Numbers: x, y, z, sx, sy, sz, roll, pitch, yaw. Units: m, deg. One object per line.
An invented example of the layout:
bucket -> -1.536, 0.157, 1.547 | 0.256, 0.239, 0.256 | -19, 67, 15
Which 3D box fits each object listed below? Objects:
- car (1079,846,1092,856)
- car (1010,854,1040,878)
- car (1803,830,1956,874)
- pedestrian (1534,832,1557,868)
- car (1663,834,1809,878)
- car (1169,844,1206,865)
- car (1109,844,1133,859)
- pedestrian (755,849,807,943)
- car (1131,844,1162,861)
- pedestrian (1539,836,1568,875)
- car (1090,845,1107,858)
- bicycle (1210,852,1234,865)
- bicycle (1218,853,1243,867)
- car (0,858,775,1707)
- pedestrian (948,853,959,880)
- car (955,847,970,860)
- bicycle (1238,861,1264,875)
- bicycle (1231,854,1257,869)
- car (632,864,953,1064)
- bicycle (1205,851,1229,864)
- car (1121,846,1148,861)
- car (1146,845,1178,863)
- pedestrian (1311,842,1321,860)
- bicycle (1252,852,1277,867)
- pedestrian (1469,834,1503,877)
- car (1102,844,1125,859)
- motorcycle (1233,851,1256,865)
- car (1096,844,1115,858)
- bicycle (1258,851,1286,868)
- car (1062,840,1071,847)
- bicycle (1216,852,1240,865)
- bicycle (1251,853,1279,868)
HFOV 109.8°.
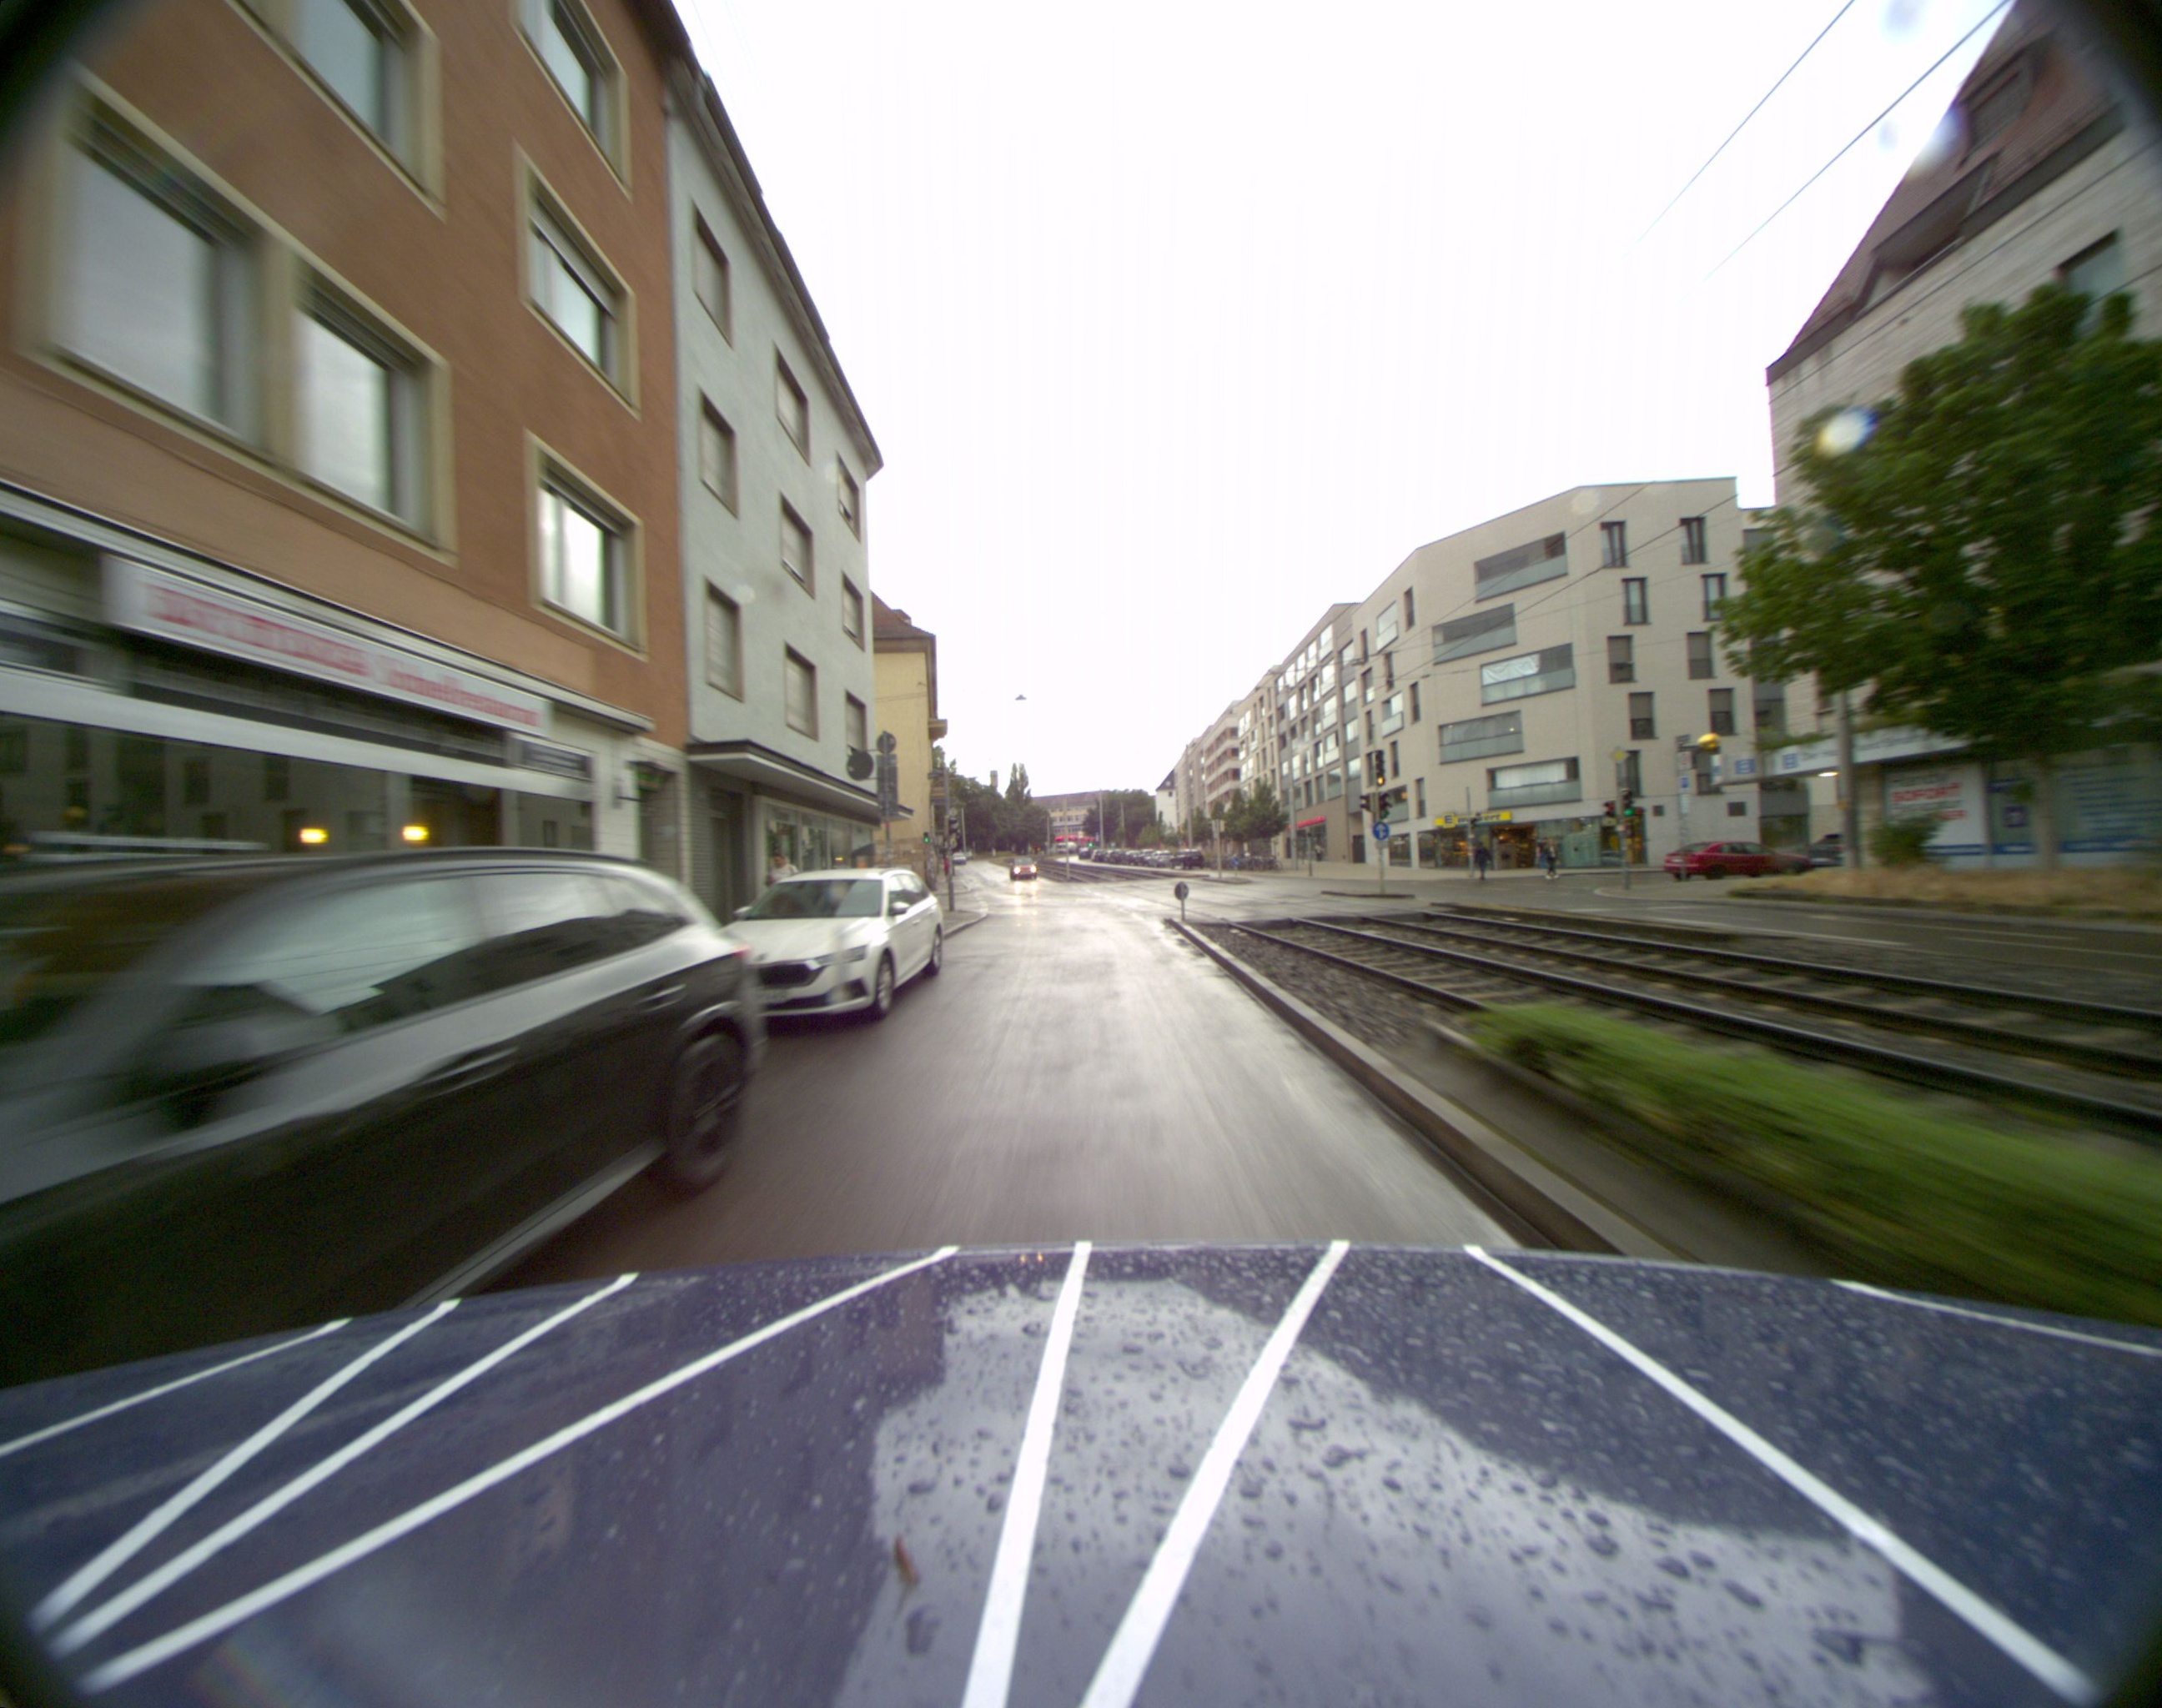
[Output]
car -> 0.674, -0.481, 117.776 | 1.655, 1.456, 3.668 | -5, 2, -1
car -> -3.952, 0.799, 53.124 | 1.595, 1.456, 3.666 | -5, 2, -11
car -> 27.822, -0.104, 26.562 | 3.703, 1.310, 1.593 | -3, 2, -1
pedestrian -> 22.633, -0.200, 37.022 | 0.706, 1.701, 0.584 | -4, 2, -24
car -> 22.879, 0.063, 26.632 | 3.702, 1.310, 1.593 | -3, 2, 1
car -> 8.764, 0.020, 62.800 | 1.685, 1.595, 4.324 | -4, 2, -11
car -> 4.414, -0.288, 83.849 | 1.685, 1.555, 3.924 | -4, 2, -11
pedestrian -> -5.185, 0.709, 13.162 | 0.690, 1.562, 0.762 | -1, -1, -11
car -> 6.423, -0.141, 74.537 | 1.686, 1.521, 4.044 | -4, 2, -15
pedestrian -> 19.820, 0.068, 31.862 | 0.649, 1.560, 0.775 | -7, 3, -37
car -> 2.244, -0.328, 98.260 | 1.651, 1.496, 3.778 | -4, 2, -5
bicycle -> 10.783, 0.360, 58.152 | 1.790, 0.912, 0.387 | -3, 2, -14
bicycle -> 11.068, 0.436, 56.248 | 1.790, 0.912, 0.387 | -3, 2, -14
car -> -2.736, 0.937, 2.030 | 1.850, 1.623, 4.585 | -3, 2, 1
pedestrian -> -8.703, 0.849, 51.834 | 0.749, 1.754, 0.817 | 1, 2, -11
car -> -16.669, -0.071, 106.758 | 1.727, 1.676, 3.862 | -5, 2, -11
bicycle -> 12.066, 1.002, 53.939 | 1.790, 0.912, 0.387 | -3, 2, -18
bicycle -> 11.790, 0.527, 54.898 | 1.790, 0.912, 0.387 | -4, 2, -14
car -> -2.790, 0.957, 8.636 | 1.806, 1.447, 4.585 | -2, 2, 1
bicycle -> 10.589, 0.284, 59.074 | 1.790, 0.912, 0.387 | -4, 2, -14
car -> 5.496, -0.048, 78.808 | 1.685, 1.373, 4.028 | -4, 2, -11
car -> 7.379, 0.000, 69.428 | 1.685, 1.456, 4.324 | -4, 2, -11
pedestrian -> 19.895, -0.288, 64.381 | 0.540, 1.441, 0.802 | -5, 3, 2
bicycle -> 12.886, 0.393, 53.348 | 1.791, 0.912, 0.386 | -5, 2, -28
pedestrian -> 17.923, 0.052, 33.641 | 0.933, 1.819, 0.958 | -2, 2, -8
car -> 3.769, -0.327, 88.235 | 1.685, 1.496, 3.924 | -4, 2, -11
motorcycle -> 12.982, 0.335, 60.310 | 1.765, 1.037, 0.542 | -2, 3, -14
car -> 3.009, -0.398, 93.293 | 1.685, 1.496, 4.401 | -4, 2, -6
bicycle -> 12.939, 0.370, 51.418 | 1.790, 0.975, 0.440 | -4, 2, -14
car -> -3.671, -2.652, 194.341 | 1.667, 1.598, 3.808 | -5, 2, 5
bicycle -> 11.093, 0.349, 57.256 | 1.790, 0.912, 0.387 | -3, 2, -14
bicycle -> 12.735, 0.444, 52.579 | 1.789, 0.871, 0.387 | -4, 2, -12
